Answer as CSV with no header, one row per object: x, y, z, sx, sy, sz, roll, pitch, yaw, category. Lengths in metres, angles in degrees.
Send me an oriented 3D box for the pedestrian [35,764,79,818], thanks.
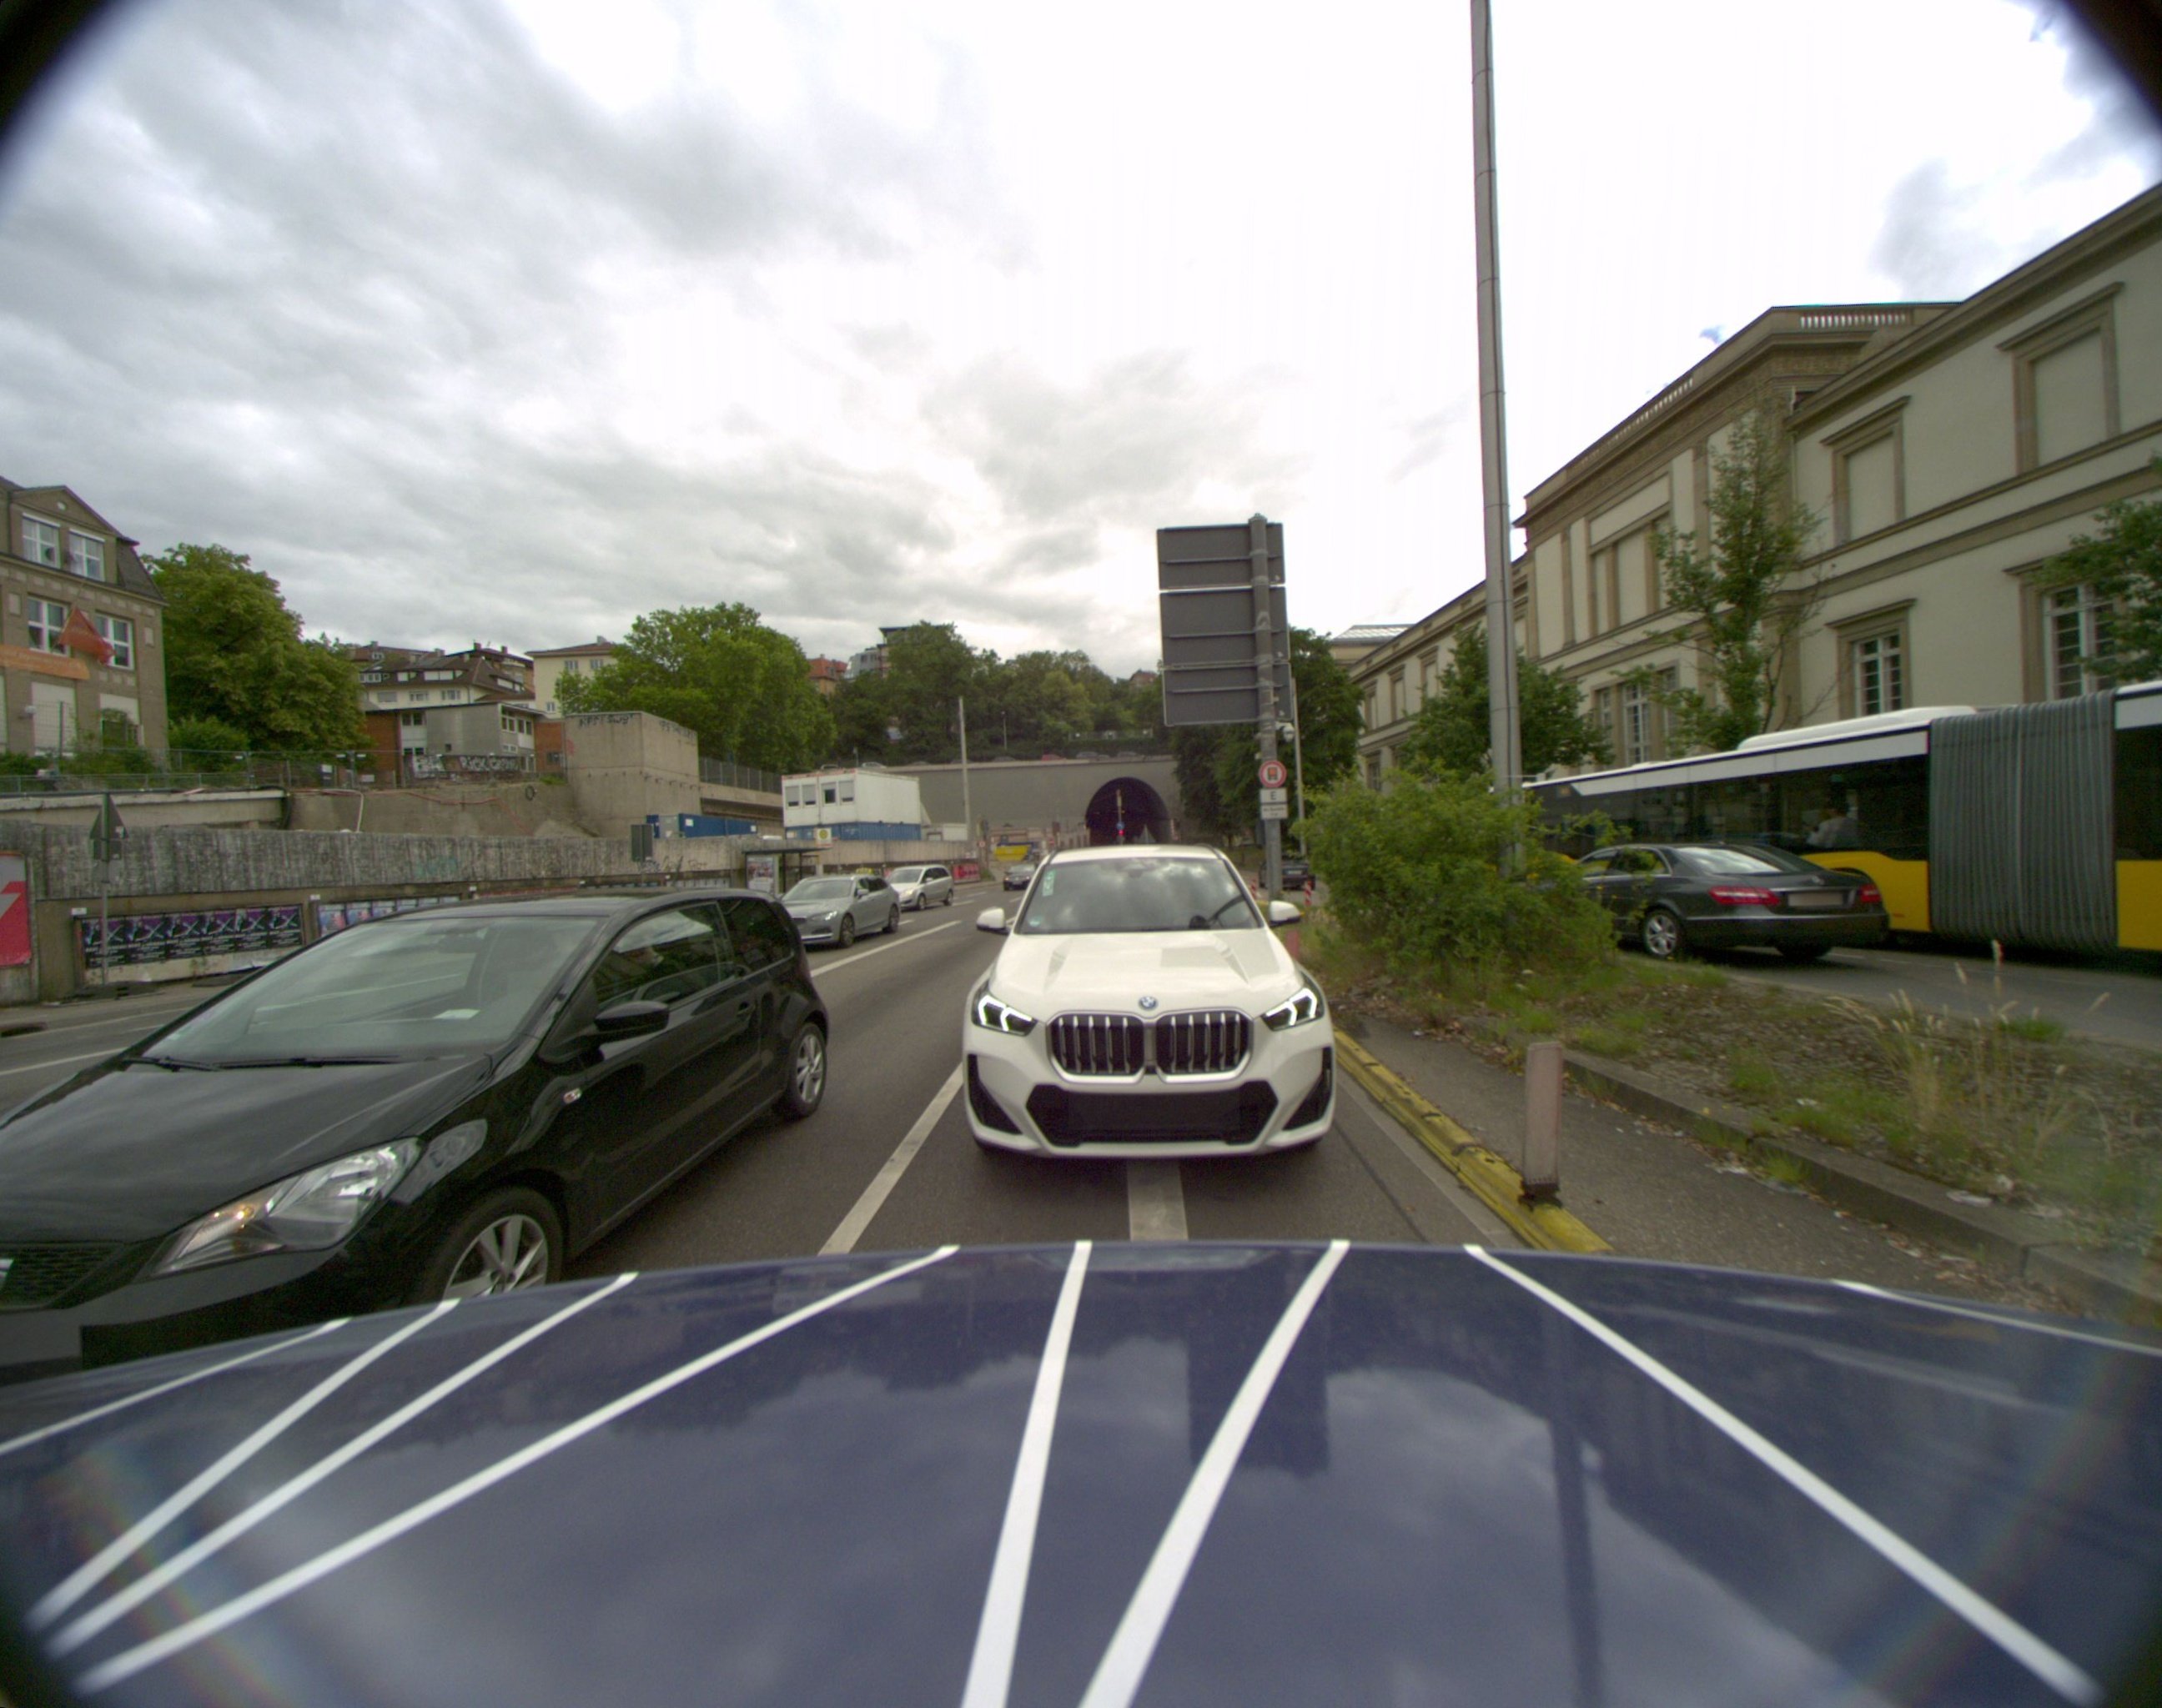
-39.541,-2.421,29.352,0.646,2.002,0.666,-2,1,-3,pedestrian

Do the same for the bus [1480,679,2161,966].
11.168,-0.371,13.354,2.853,3.096,9.747,-3,0,-1,bus

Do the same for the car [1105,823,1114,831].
5.894,-5.525,156.758,1.667,1.582,3.882,-1,0,2,car

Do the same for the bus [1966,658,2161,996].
11.290,-0.298,3.884,2.853,3.096,9.121,-3,0,0,bus

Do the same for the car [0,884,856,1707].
-2.512,1.001,3.411,1.667,1.487,3.882,-3,0,2,car

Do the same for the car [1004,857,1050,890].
-2.900,1.024,41.837,1.704,1.550,4.552,-3,0,5,car

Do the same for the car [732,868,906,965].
-5.297,1.181,16.138,1.826,1.562,4.654,-3,0,3,car

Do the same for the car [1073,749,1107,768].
1.089,-11.831,94.486,3.998,2.002,1.999,-2,1,-2,car

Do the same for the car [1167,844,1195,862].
8.998,-0.104,68.721,1.711,1.505,4.287,0,0,-3,car

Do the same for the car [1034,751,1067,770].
-3.789,-11.653,94.401,3.998,2.002,1.999,-2,1,-2,car

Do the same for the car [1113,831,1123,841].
6.318,-3.142,129.964,1.667,1.582,3.882,-1,0,2,car

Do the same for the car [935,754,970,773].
-15.815,-11.209,93.895,3.998,2.002,1.999,-2,1,-2,car

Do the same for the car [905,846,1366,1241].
0.288,0.797,5.121,1.848,1.581,3.882,-3,0,2,car

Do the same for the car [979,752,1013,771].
-10.496,-11.404,94.006,3.998,2.002,1.999,-2,1,-2,car

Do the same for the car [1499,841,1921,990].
7.768,0.619,10.149,1.705,1.463,4.629,-3,0,-1,car

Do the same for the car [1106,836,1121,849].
3.920,-1.325,91.412,1.730,1.435,4.001,-3,0,4,car

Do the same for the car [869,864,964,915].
-5.937,1.231,27.992,1.703,1.550,4.554,-3,0,11,car

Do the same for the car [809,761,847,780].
-31.076,-10.264,93.307,3.998,2.002,1.999,-2,1,-5,car

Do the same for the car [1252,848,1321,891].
8.463,0.606,31.631,1.701,1.580,3.882,-3,0,-1,car

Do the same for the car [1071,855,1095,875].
0.169,0.773,56.540,1.728,1.310,4.000,-3,0,1,car

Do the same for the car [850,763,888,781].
-26.027,-10.077,93.371,3.998,2.002,1.999,-2,1,-5,car

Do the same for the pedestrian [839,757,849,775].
-28.215,-10.418,90.347,0.851,2.002,0.905,-3,1,-3,pedestrian
